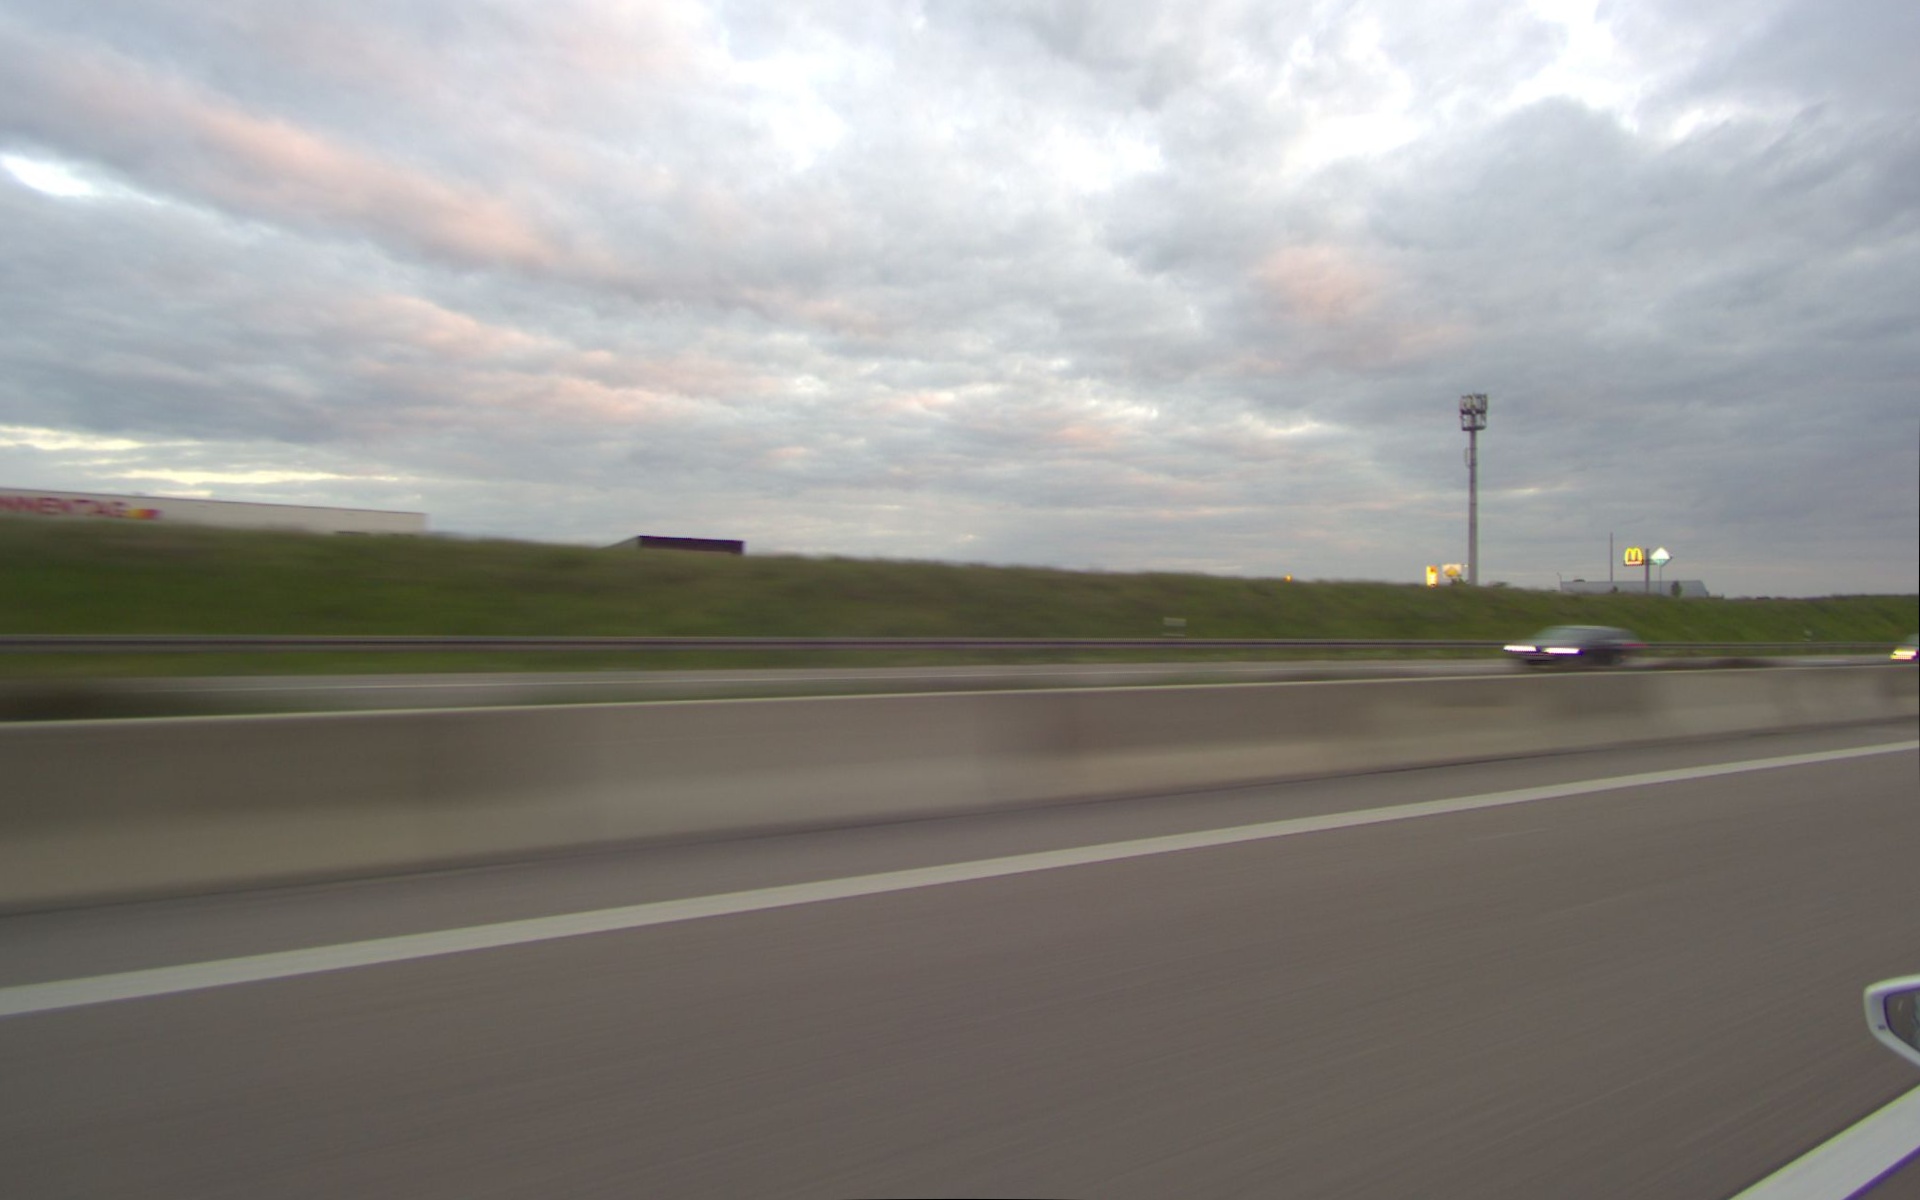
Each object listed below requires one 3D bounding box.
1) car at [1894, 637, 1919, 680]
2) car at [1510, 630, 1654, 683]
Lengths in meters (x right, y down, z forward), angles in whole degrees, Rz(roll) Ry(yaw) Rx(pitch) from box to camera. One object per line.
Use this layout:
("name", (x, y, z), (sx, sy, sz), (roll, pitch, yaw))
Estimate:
("car", (39.361, 2.360, 40.201), (3.952, 1.650, 1.811), (2, -1, -30))
("car", (20.842, 1.875, 33.602), (5.141, 1.623, 1.983), (2, -1, -31))
